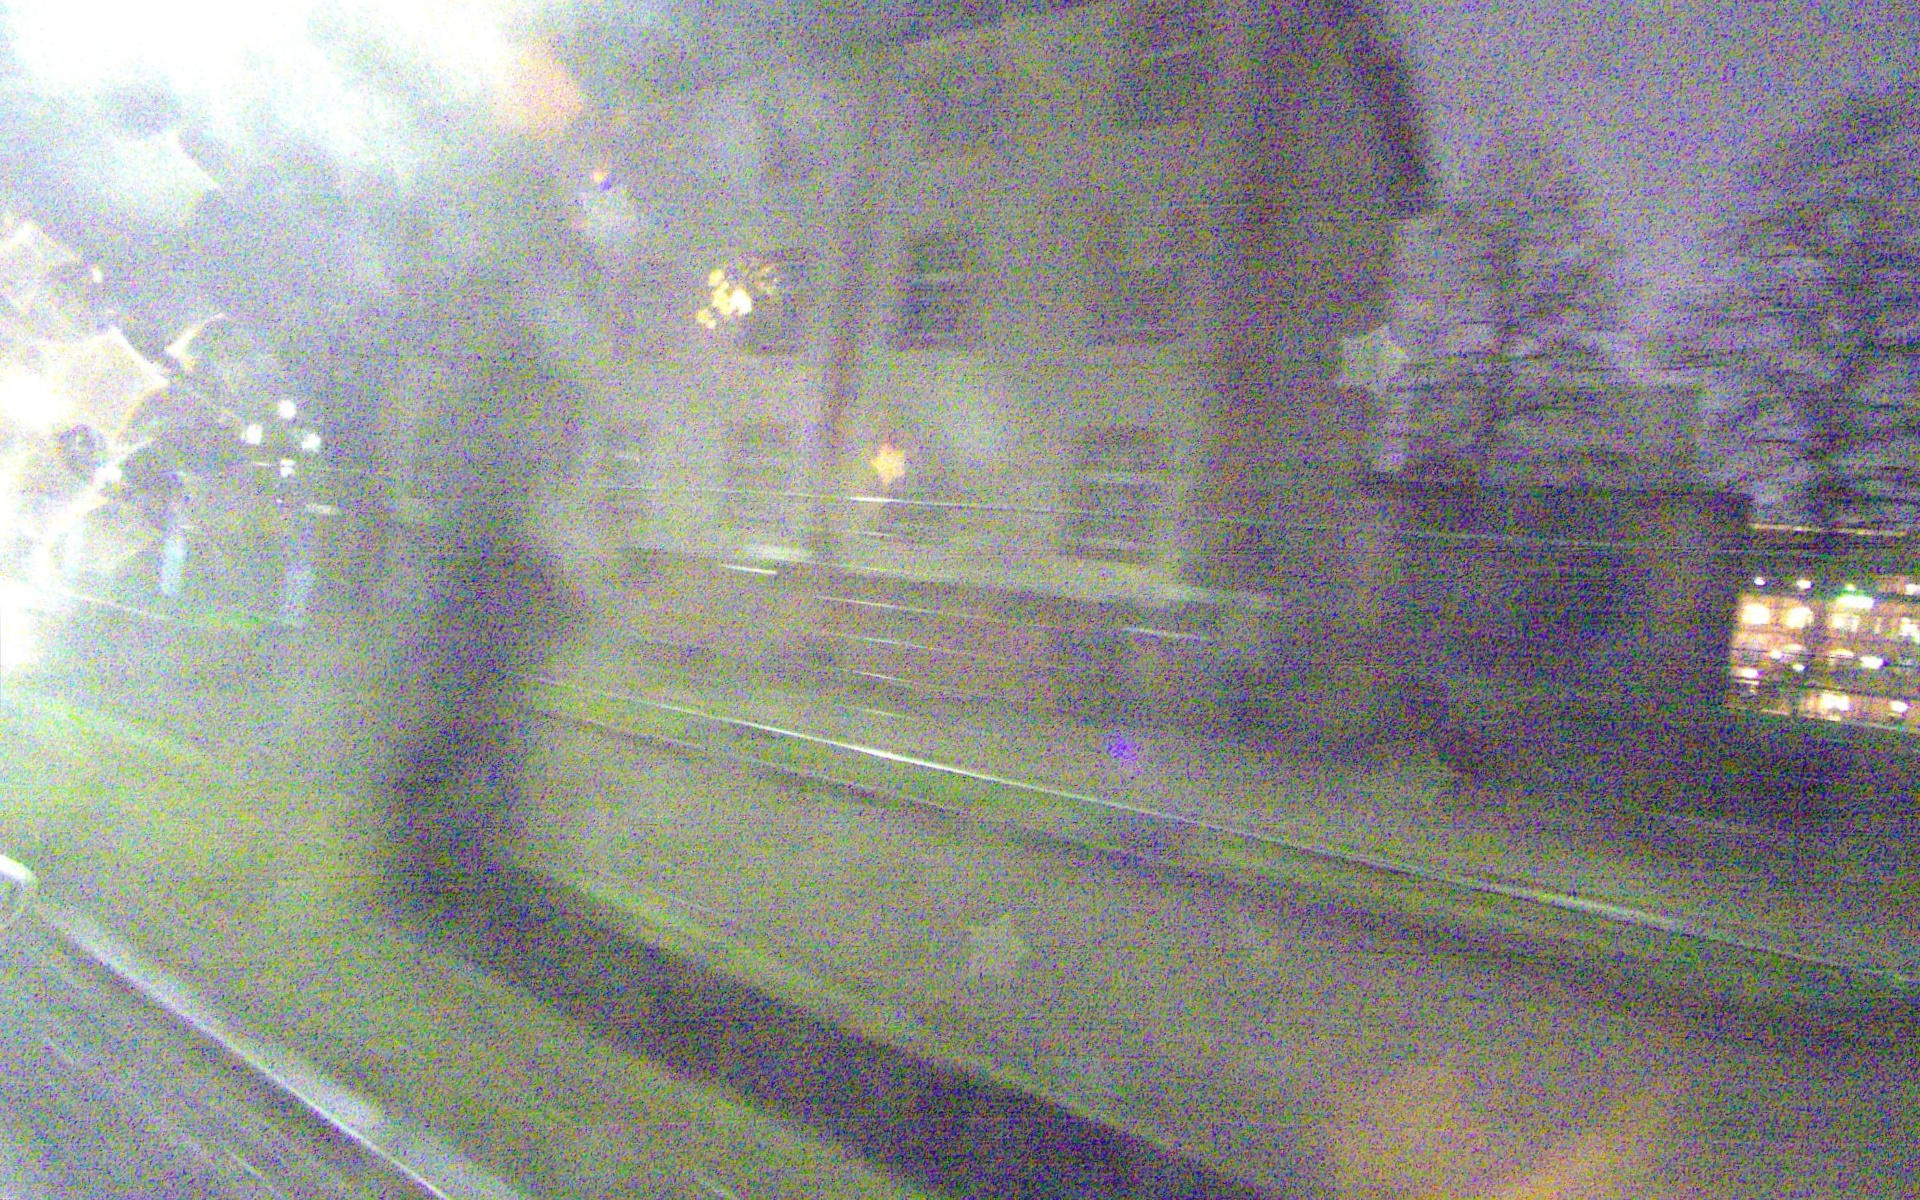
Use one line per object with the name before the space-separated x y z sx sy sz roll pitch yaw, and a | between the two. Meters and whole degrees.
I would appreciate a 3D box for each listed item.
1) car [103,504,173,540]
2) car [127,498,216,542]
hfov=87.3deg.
car | -44.730 -4.249 54.724 4.190 1.431 1.680 8 1 33
car | -36.671 -3.718 46.792 4.188 1.485 1.829 7 -1 32
